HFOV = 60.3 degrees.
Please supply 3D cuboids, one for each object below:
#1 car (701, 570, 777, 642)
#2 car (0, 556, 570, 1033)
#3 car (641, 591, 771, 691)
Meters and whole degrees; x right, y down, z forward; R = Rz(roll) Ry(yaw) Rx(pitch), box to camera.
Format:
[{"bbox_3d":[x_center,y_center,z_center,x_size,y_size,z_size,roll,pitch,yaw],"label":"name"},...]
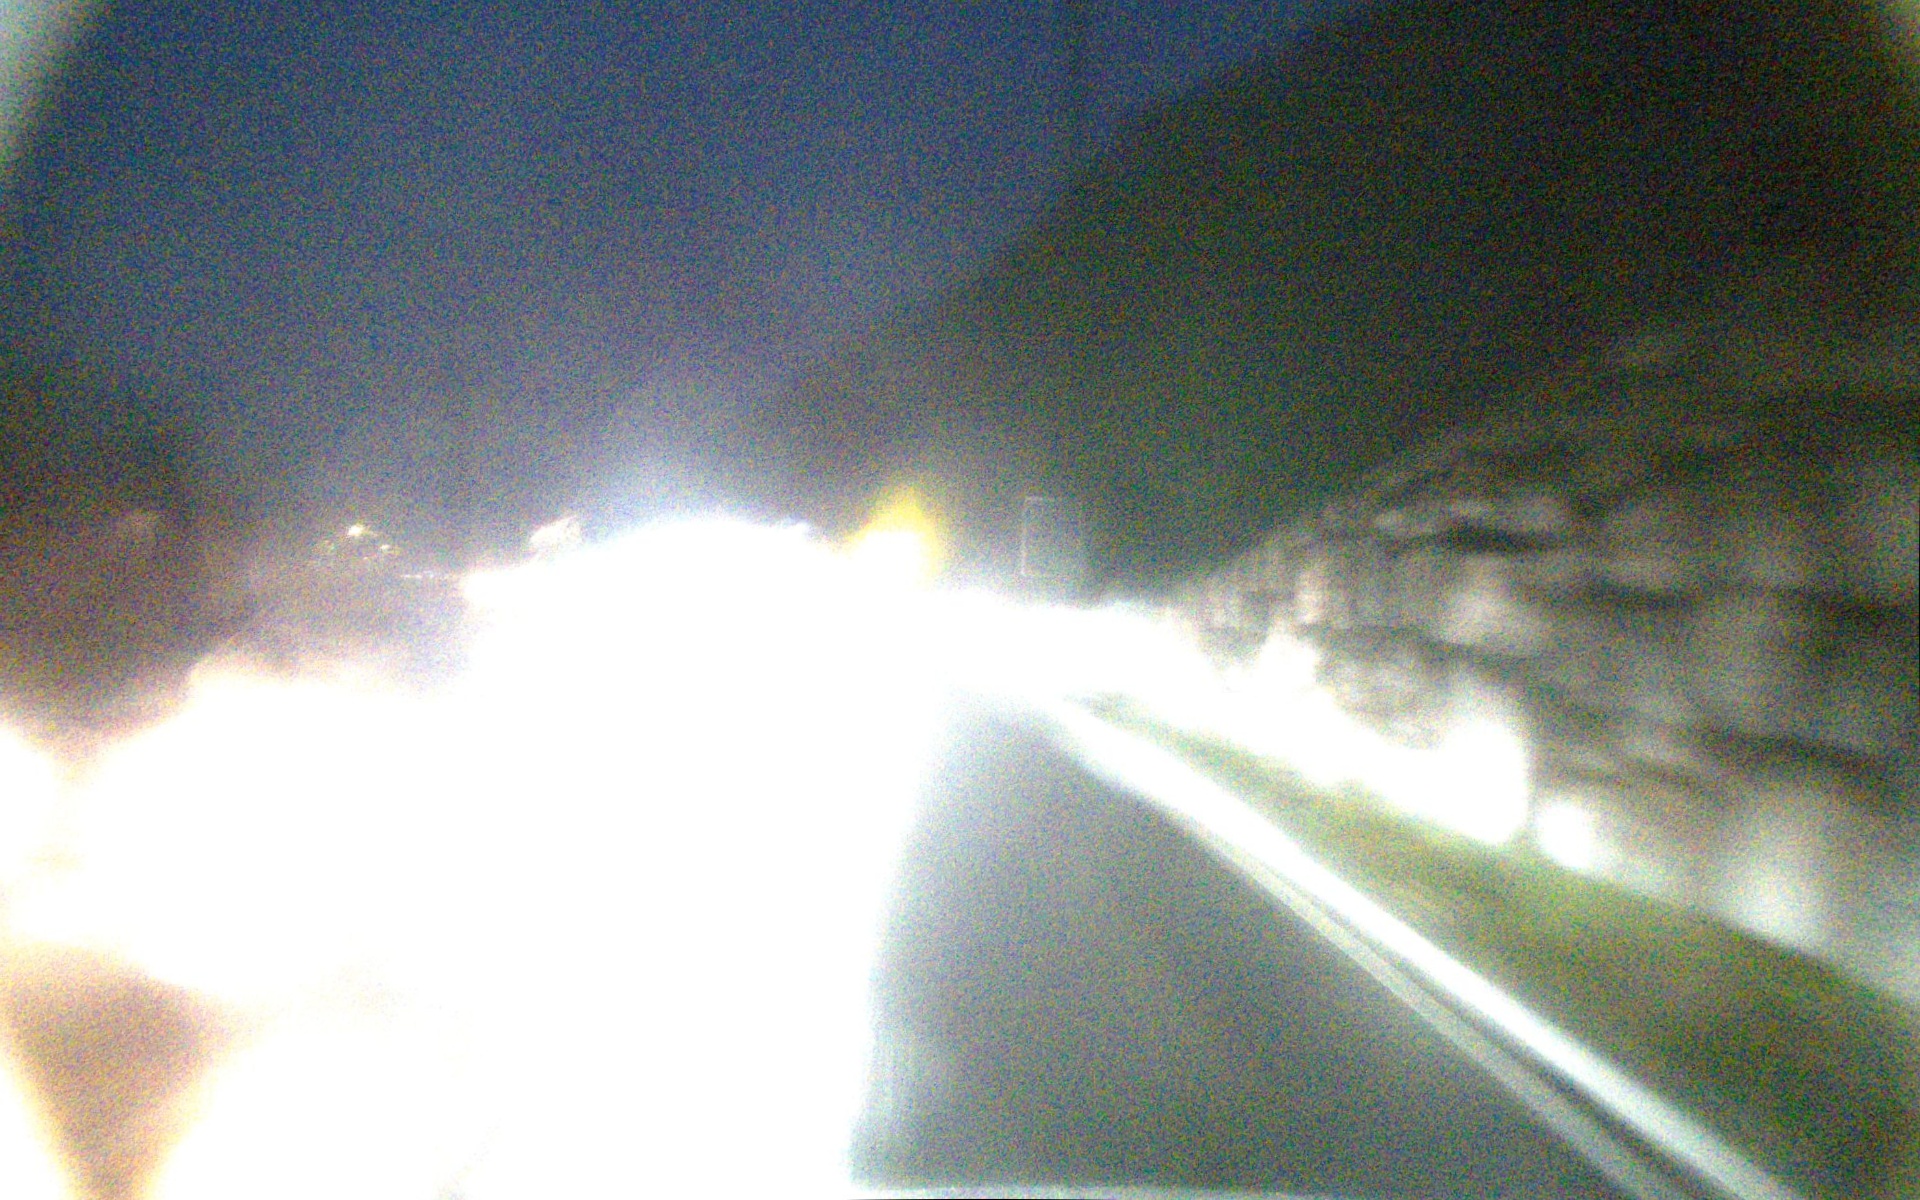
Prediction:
[{"bbox_3d":[-5.468,0.142,41.184,1.654,1.710,3.464,0,0,-4],"label":"car"},{"bbox_3d":[-3.203,0.647,7.936,1.752,1.651,4.375,0,1,-2],"label":"car"},{"bbox_3d":[-4.260,0.654,28.309,1.781,1.587,4.175,0,0,-3],"label":"car"}]
